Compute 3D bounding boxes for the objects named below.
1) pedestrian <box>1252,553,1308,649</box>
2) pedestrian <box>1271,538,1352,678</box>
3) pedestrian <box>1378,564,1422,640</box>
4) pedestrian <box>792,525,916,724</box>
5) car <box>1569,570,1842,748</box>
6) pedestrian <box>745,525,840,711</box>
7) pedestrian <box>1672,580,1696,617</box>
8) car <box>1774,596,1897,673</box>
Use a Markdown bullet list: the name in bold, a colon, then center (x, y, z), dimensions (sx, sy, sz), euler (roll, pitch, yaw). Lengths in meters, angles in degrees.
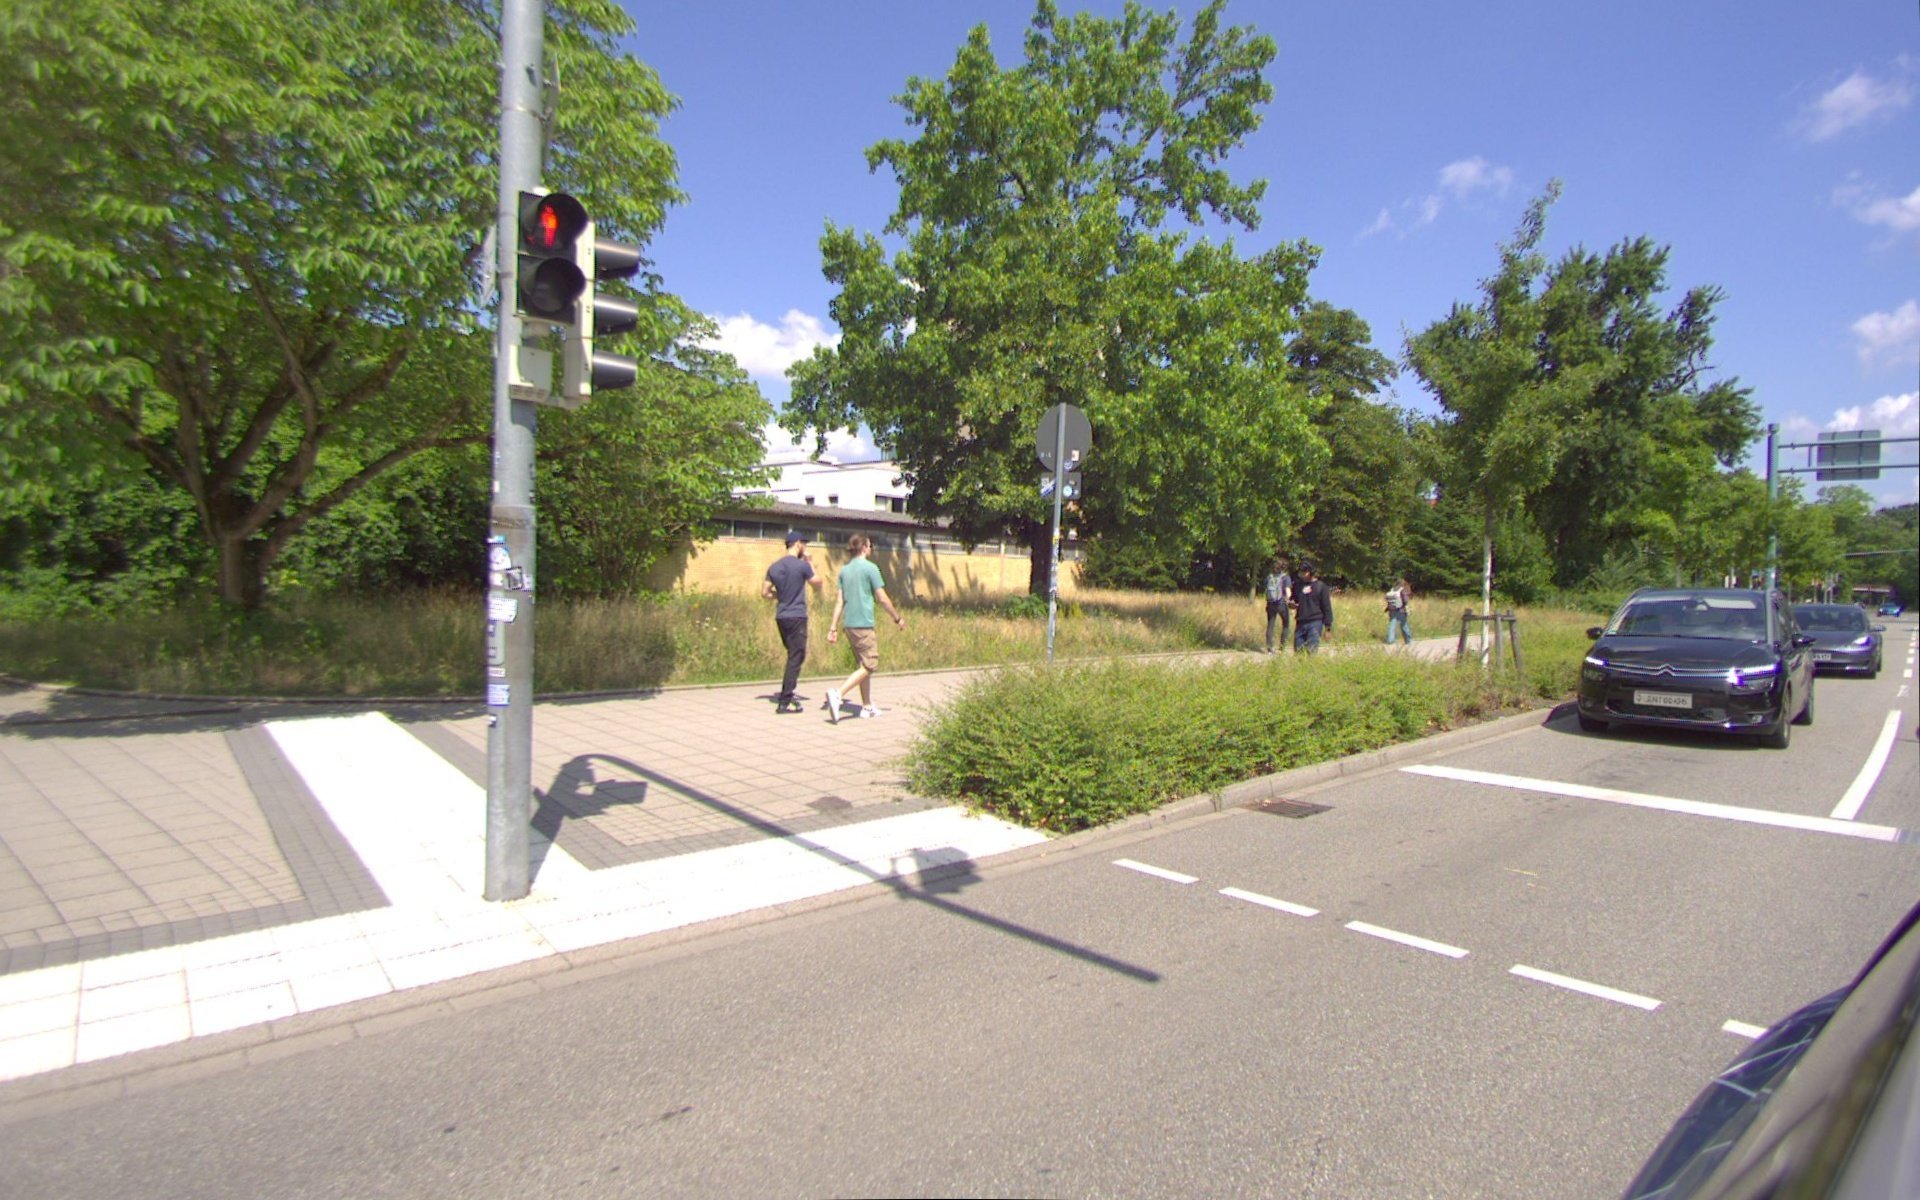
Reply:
- **pedestrian**: center (6.080, 0.012, 19.255), dimensions (0.749, 1.771, 0.657), euler (3, 2, 44)
- **pedestrian**: center (4.648, 0.090, 13.384), dimensions (0.666, 1.771, 0.834), euler (3, 2, 43)
- **pedestrian**: center (10.647, 0.044, 24.482), dimensions (0.666, 1.771, 0.864), euler (3, 2, 43)
- **pedestrian**: center (-1.011, 0.201, 9.738), dimensions (0.748, 1.799, 0.869), euler (3, 2, 38)
- **car**: center (8.652, 0.556, 11.582), dimensions (1.858, 1.643, 4.447), euler (-1, -1, 45)
- **pedestrian**: center (-1.667, 0.156, 10.064), dimensions (0.665, 1.768, 0.601), euler (3, 2, 38)
- **pedestrian**: center (34.920, -0.073, 48.791), dimensions (0.842, 1.787, 0.828), euler (-1, 0, 44)
- **car**: center (18.222, 0.649, 21.054), dimensions (1.760, 1.436, 4.297), euler (-1, -1, 42)
